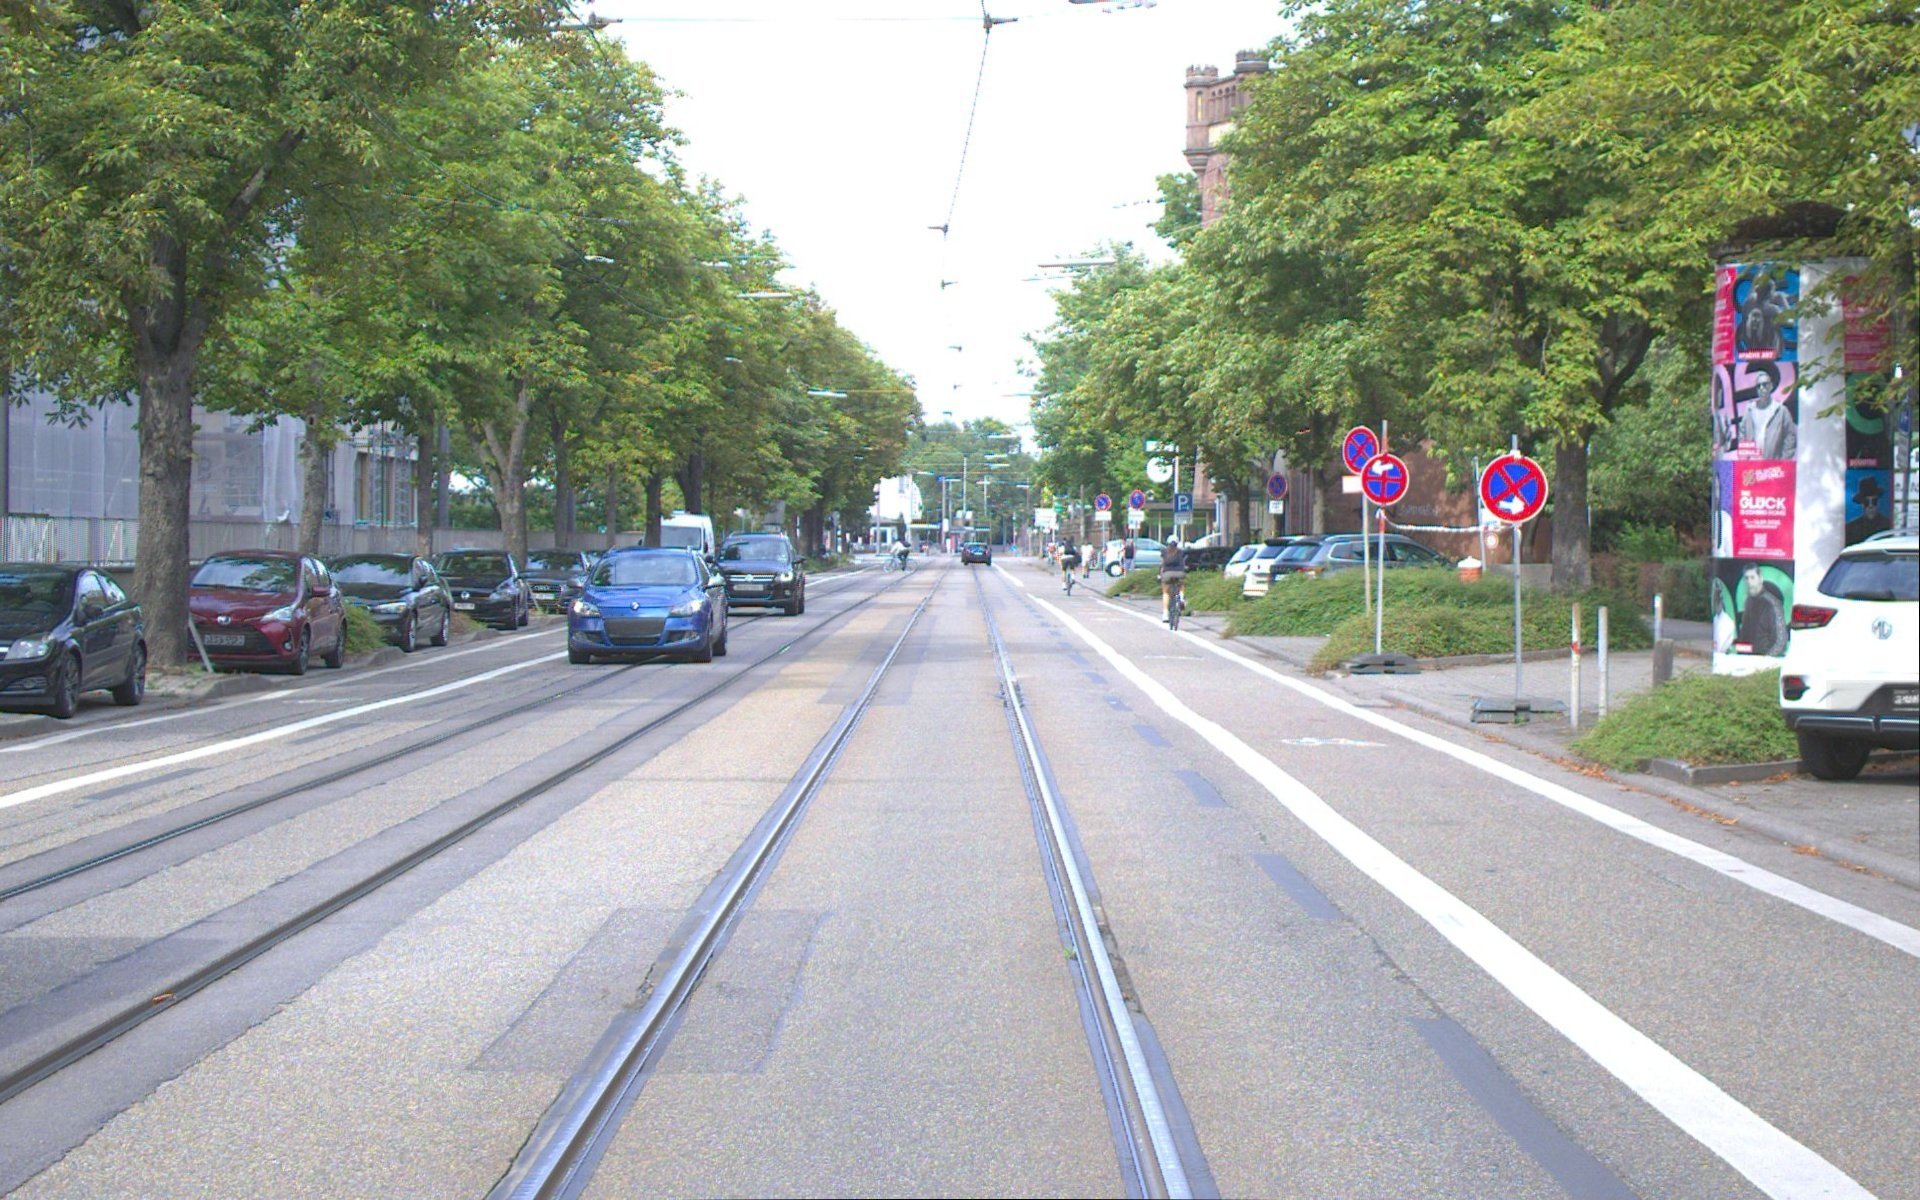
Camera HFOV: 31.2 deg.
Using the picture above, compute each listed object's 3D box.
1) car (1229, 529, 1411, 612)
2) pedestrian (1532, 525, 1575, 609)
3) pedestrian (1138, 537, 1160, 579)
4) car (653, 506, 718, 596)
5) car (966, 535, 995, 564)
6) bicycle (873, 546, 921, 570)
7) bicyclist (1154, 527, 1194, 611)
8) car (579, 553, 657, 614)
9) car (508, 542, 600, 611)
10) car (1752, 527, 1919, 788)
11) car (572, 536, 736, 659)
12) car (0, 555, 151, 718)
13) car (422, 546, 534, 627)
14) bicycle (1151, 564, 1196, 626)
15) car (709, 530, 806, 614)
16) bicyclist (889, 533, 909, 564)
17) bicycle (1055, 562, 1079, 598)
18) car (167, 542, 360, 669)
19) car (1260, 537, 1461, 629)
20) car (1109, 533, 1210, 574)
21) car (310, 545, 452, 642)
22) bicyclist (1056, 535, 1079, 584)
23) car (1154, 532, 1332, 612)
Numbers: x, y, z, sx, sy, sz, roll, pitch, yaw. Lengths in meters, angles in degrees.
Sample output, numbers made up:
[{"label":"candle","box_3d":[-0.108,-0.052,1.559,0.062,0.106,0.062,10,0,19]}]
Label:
[{"label":"car","box_3d":[7.179,-0.583,68.394,1.681,1.597,3.637,1,1,45]},{"label":"pedestrian","box_3d":[12.941,-0.724,74.997,0.786,1.820,0.661,1,1,20]},{"label":"pedestrian","box_3d":[7.942,-1.761,144.456,0.748,1.783,0.730,1,0,15]},{"label":"car","box_3d":[-8.489,-1.531,106.490,1.720,2.695,5.471,1,1,-2]},{"label":"car","box_3d":[1.323,-3.259,222.768,1.795,1.817,4.679,1,1,-1]},{"label":"bicycle","box_3d":[-3.084,-2.072,169.112,2.275,1.185,0.768,1,1,8]},{"label":"bicyclist","box_3d":[3.762,-0.545,60.478,0.592,1.454,0.875,1,1,-2]},{"label":"car","box_3d":[-8.223,-0.422,82.952,1.590,1.398,3.963,1,1,-2]},{"label":"car","box_3d":[-8.572,-0.516,72.730,1.590,1.398,3.963,1,1,-2]},{"label":"car","box_3d":[6.917,0.345,22.557,1.681,1.597,3.637,1,1,45]},{"label":"car","box_3d":[-3.903,-0.069,44.404,1.732,1.491,4.378,0,1,0]},{"label":"car","box_3d":[-8.800,0.292,32.264,1.590,1.398,3.963,1,1,-2]},{"label":"car","box_3d":[-8.728,-0.267,62.433,1.590,1.398,3.963,1,1,-2]},{"label":"bicycle","box_3d":[3.753,-0.096,60.484,0.592,1.040,1.978,1,1,-2]},{"label":"car","box_3d":[-4.077,-0.591,69.739,1.732,1.623,4.378,-1,1,-1]},{"label":"bicyclist","box_3d":[-3.013,-2.530,169.091,0.847,1.499,0.768,1,1,8]},{"label":"bicycle","box_3d":[3.267,-0.617,104.962,0.663,1.040,1.841,1,1,1]},{"label":"car","box_3d":[-8.645,0.032,42.921,1.635,1.491,3.963,1,1,-1]},{"label":"car","box_3d":[7.200,-0.312,61.643,1.681,1.597,3.637,1,1,45]},{"label":"car","box_3d":[8.387,-1.968,144.754,3.986,1.687,2.000,1,1,-5]},{"label":"car","box_3d":[-8.732,-0.125,52.121,1.590,1.398,3.963,1,1,-2]},{"label":"bicyclist","box_3d":[3.279,-1.242,104.956,0.659,1.491,0.929,1,1,1]},{"label":"car","box_3d":[5.822,-0.567,70.489,1.681,1.597,3.637,1,1,45]}]
